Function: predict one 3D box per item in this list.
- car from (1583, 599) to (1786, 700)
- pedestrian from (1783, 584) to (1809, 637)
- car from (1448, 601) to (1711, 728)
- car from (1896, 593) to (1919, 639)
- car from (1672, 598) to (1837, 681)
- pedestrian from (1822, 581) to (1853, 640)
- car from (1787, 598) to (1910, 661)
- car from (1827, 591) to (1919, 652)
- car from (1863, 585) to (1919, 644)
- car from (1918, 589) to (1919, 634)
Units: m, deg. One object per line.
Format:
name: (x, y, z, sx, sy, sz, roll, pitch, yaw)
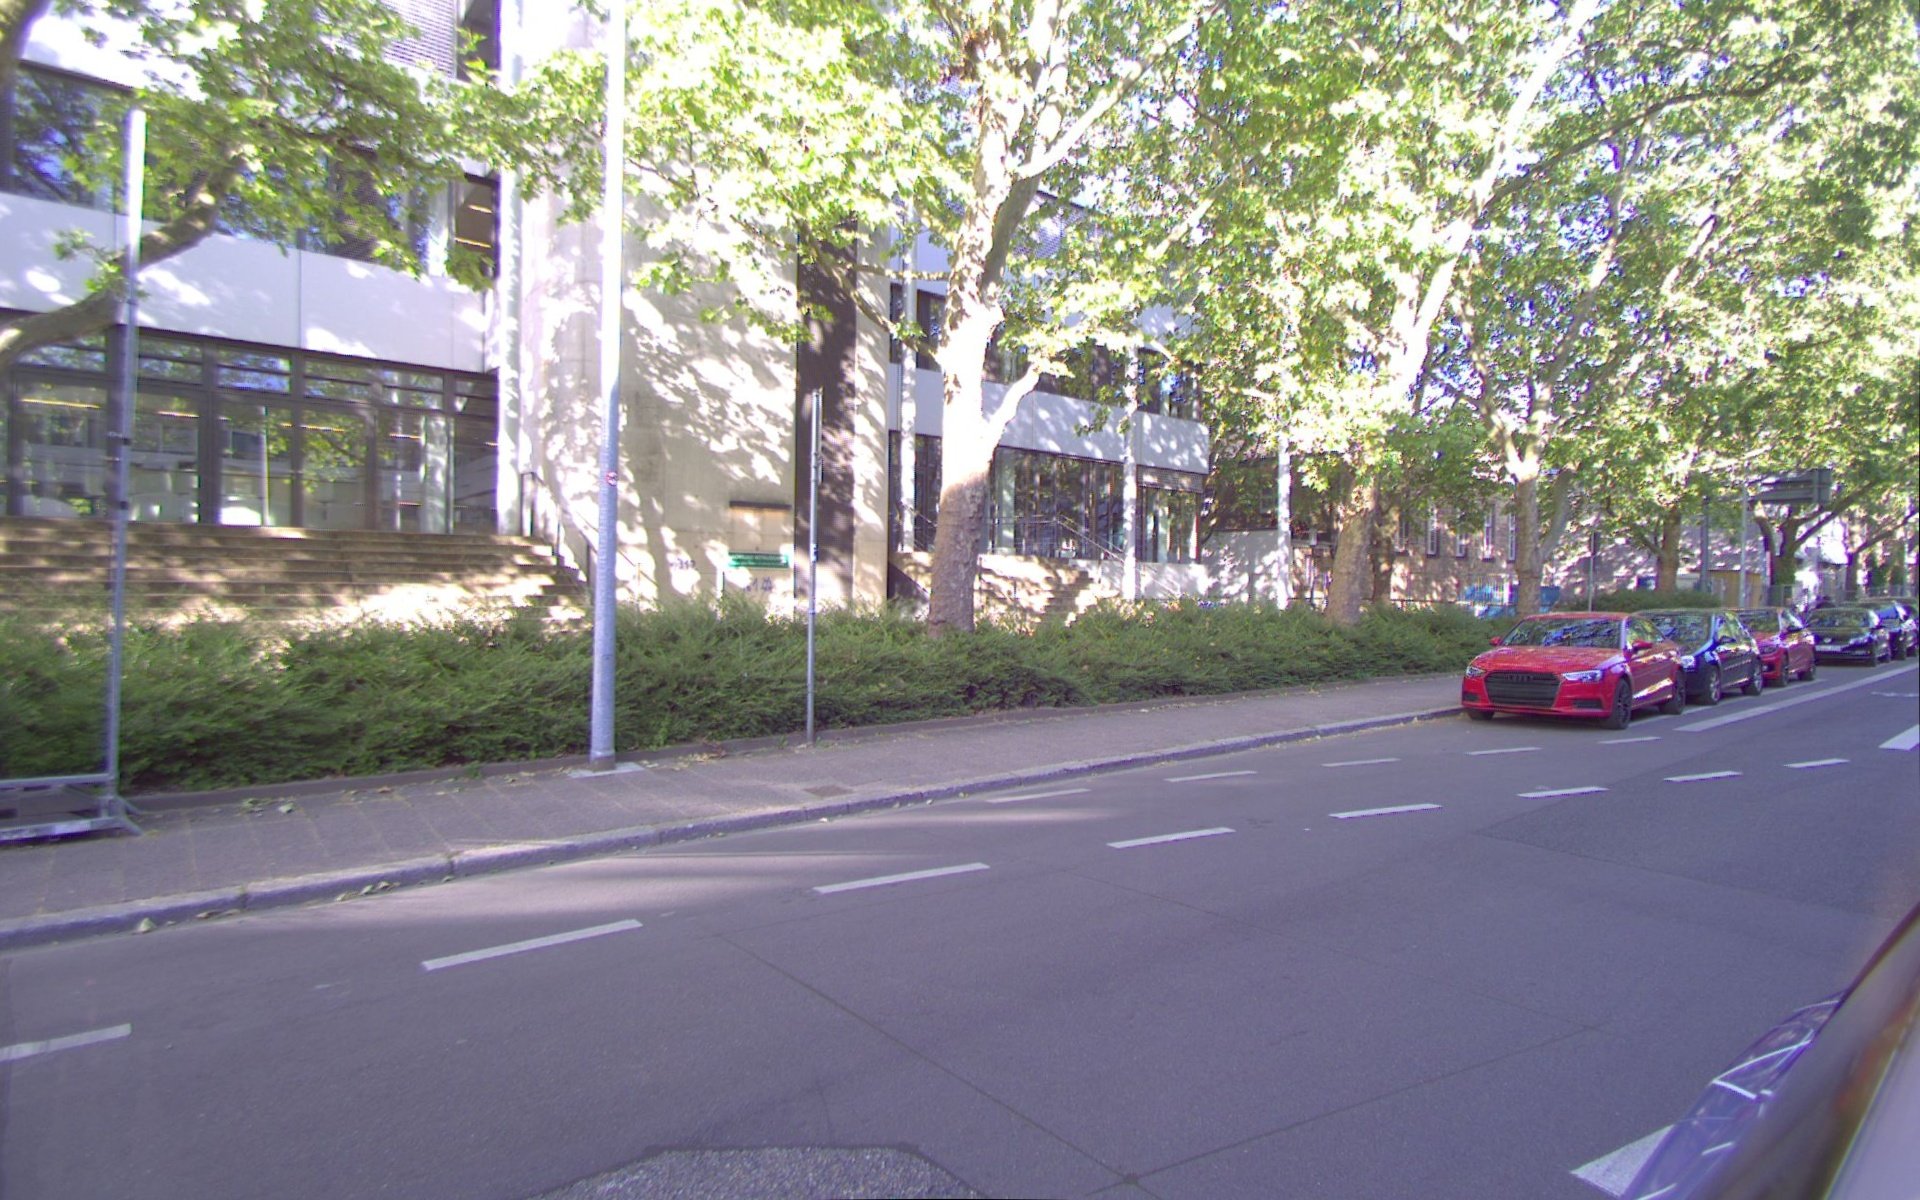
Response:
car: (12.012, 0.715, 16.686, 4.095, 1.464, 1.834, 0, 0, -41)
pedestrian: (29.103, 0.347, 35.230, 0.583, 1.818, 0.600, 0, 0, -41)
car: (8.393, 0.733, 13.569, 4.173, 1.422, 1.834, 0, 0, -41)
car: (35.895, 0.576, 37.104, 4.183, 1.634, 1.834, 0, 0, -40)
car: (15.827, 0.705, 20.101, 4.095, 1.486, 1.834, 0, 0, -41)
pedestrian: (28.571, 0.335, 32.958, 0.629, 1.883, 0.660, 0, 0, -41)
car: (22.859, 0.698, 25.993, 4.095, 1.486, 1.834, 0, 0, -41)
car: (26.548, 0.568, 29.088, 4.088, 1.626, 1.834, 0, 0, -40)
car: (31.033, 0.434, 32.978, 4.384, 1.820, 1.834, 0, 0, -40)
car: (39.688, 0.452, 40.279, 4.183, 1.783, 1.834, 0, 0, -40)
